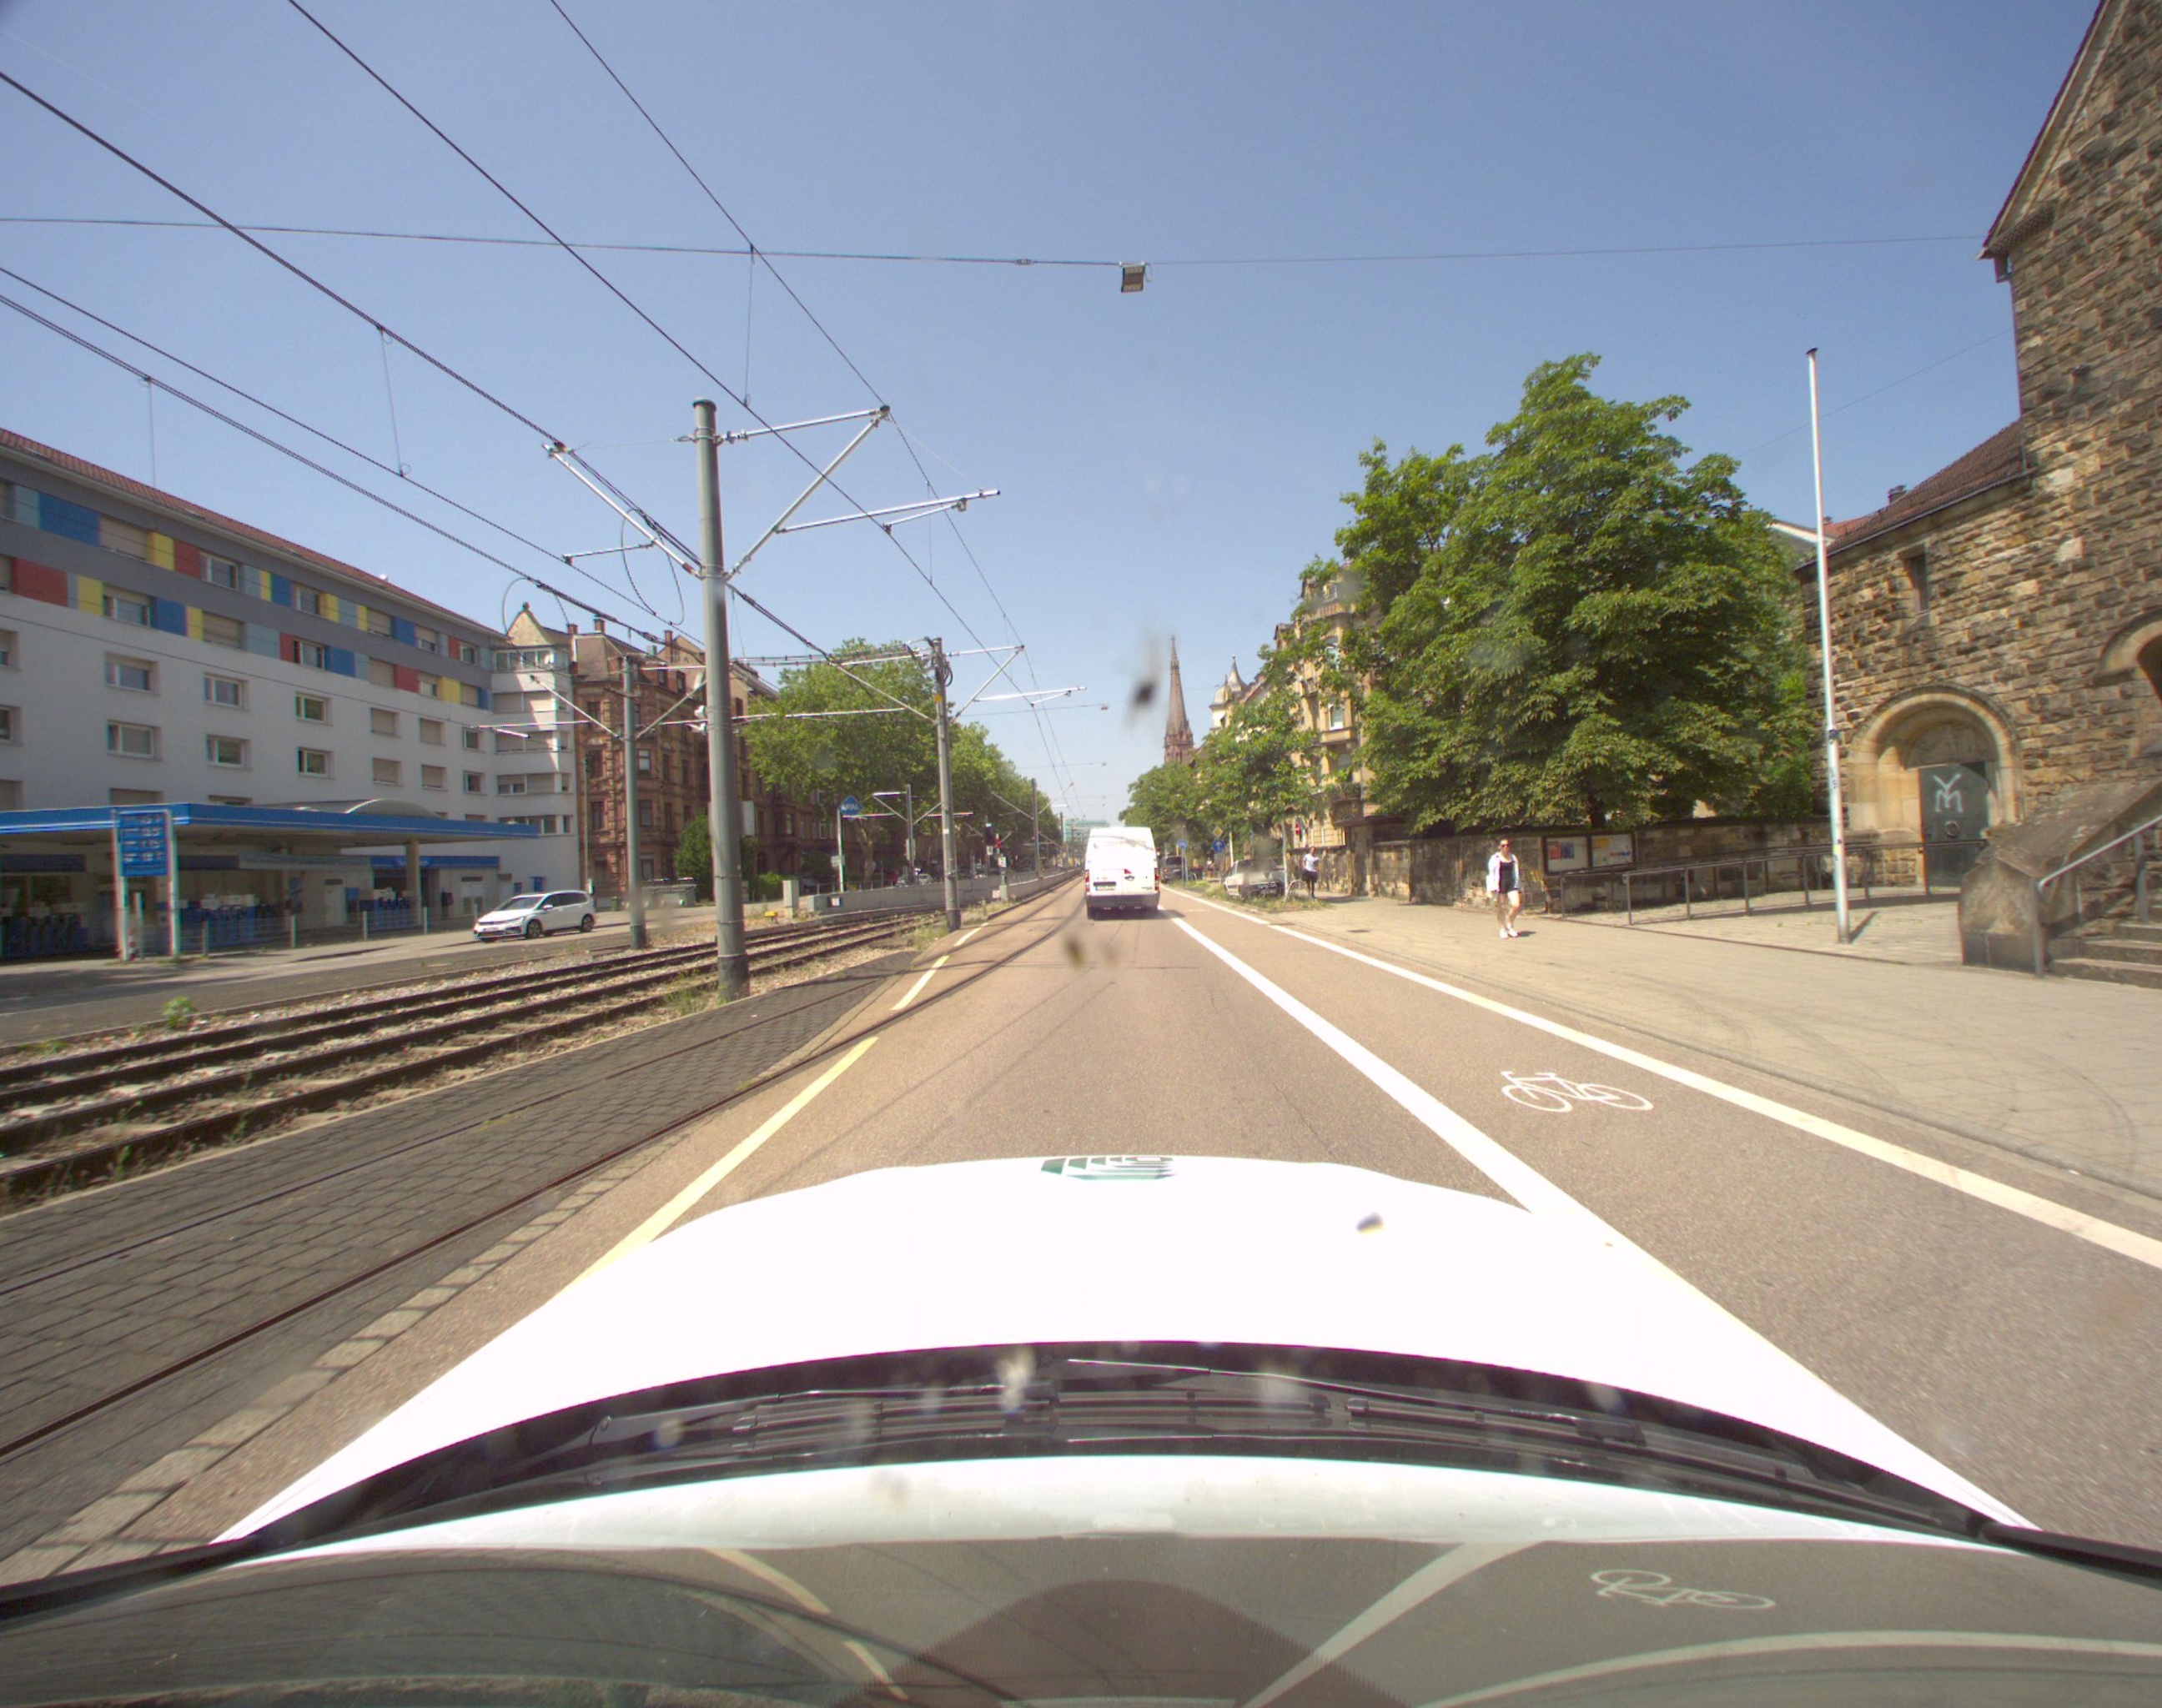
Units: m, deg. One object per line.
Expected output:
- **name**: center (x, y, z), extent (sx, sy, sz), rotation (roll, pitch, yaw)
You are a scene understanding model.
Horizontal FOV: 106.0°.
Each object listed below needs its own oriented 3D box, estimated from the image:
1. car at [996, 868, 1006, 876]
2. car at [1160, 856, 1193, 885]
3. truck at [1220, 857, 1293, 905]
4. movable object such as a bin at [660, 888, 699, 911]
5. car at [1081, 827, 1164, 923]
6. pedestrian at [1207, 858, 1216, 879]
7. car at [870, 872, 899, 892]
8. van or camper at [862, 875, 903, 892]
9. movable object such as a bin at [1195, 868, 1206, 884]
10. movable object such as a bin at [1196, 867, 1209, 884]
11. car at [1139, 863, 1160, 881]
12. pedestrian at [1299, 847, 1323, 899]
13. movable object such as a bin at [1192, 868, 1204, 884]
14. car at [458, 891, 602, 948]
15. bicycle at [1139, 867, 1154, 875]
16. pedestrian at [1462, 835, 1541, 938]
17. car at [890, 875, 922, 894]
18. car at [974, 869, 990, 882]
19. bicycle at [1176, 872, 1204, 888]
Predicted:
- **car**: center (-14.148, 3.186, 143.976), extent (1.368, 1.424, 3.089), rotation (-3, -1, 2)
- **car**: center (7.006, 1.207, 60.333), extent (1.872, 1.947, 4.838), rotation (-4, -1, 2)
- **truck**: center (6.277, 0.930, 29.561), extent (1.783, 1.526, 4.467), rotation (-2, -1, 2)
- **movable object such as a bin**: center (-26.077, 2.950, 52.897), extent (1.777, 1.385, 1.469), rotation (-3, -1, -1)
- **car**: center (1.128, 0.574, 24.230), extent (2.110, 2.459, 5.054), rotation (-2, -1, 0)
- **pedestrian**: center (9.808, 1.088, 61.419), extent (0.549, 1.598, 0.728), rotation (-2, -1, 4)
- **car**: center (-17.511, 2.489, 72.739), extent (1.648, 1.684, 3.707), rotation (-2, -1, 1)
- **van or camper**: center (-24.807, 3.662, 101.973), extent (4.519, 1.836, 1.936), rotation (-3, -1, 7)
- **movable object such as a bin**: center (7.951, 1.456, 54.296), extent (0.665, 1.062, 0.497), rotation (-2, -1, 7)
- **movable object such as a bin**: center (7.997, 1.414, 53.610), extent (0.783, 1.014, 0.651), rotation (-2, -1, 7)
- **car**: center (6.284, 1.642, 74.973), extent (1.661, 1.530, 4.014), rotation (-3, 0, 2)
- **pedestrian**: center (7.921, 0.646, 28.058), extent (0.618, 1.755, 0.679), rotation (-2, -1, 3)
- **movable object such as a bin**: center (7.897, 1.482, 54.956), extent (0.742, 1.062, 0.497), rotation (-2, -1, 7)
- **car**: center (-19.799, 2.290, 29.549), extent (1.840, 1.625, 4.605), rotation (-4, -1, 2)
- **bicycle**: center (8.073, 2.112, 100.044), extent (1.835, 0.953, 0.503), rotation (-3, -1, 2)
- **pedestrian**: center (7.061, 0.536, 13.722), extent (0.790, 1.650, 0.967), rotation (-2, -1, 3)
- **car**: center (-17.157, 2.930, 79.893), extent (1.987, 1.625, 4.718), rotation (-2, -1, 1)
- **car**: center (-13.362, 2.876, 110.054), extent (1.738, 1.640, 3.861), rotation (-3, -1, 0)
- **bicycle**: center (7.557, 1.788, 56.452), extent (1.880, 0.991, 0.469), rotation (-3, -1, -9)
